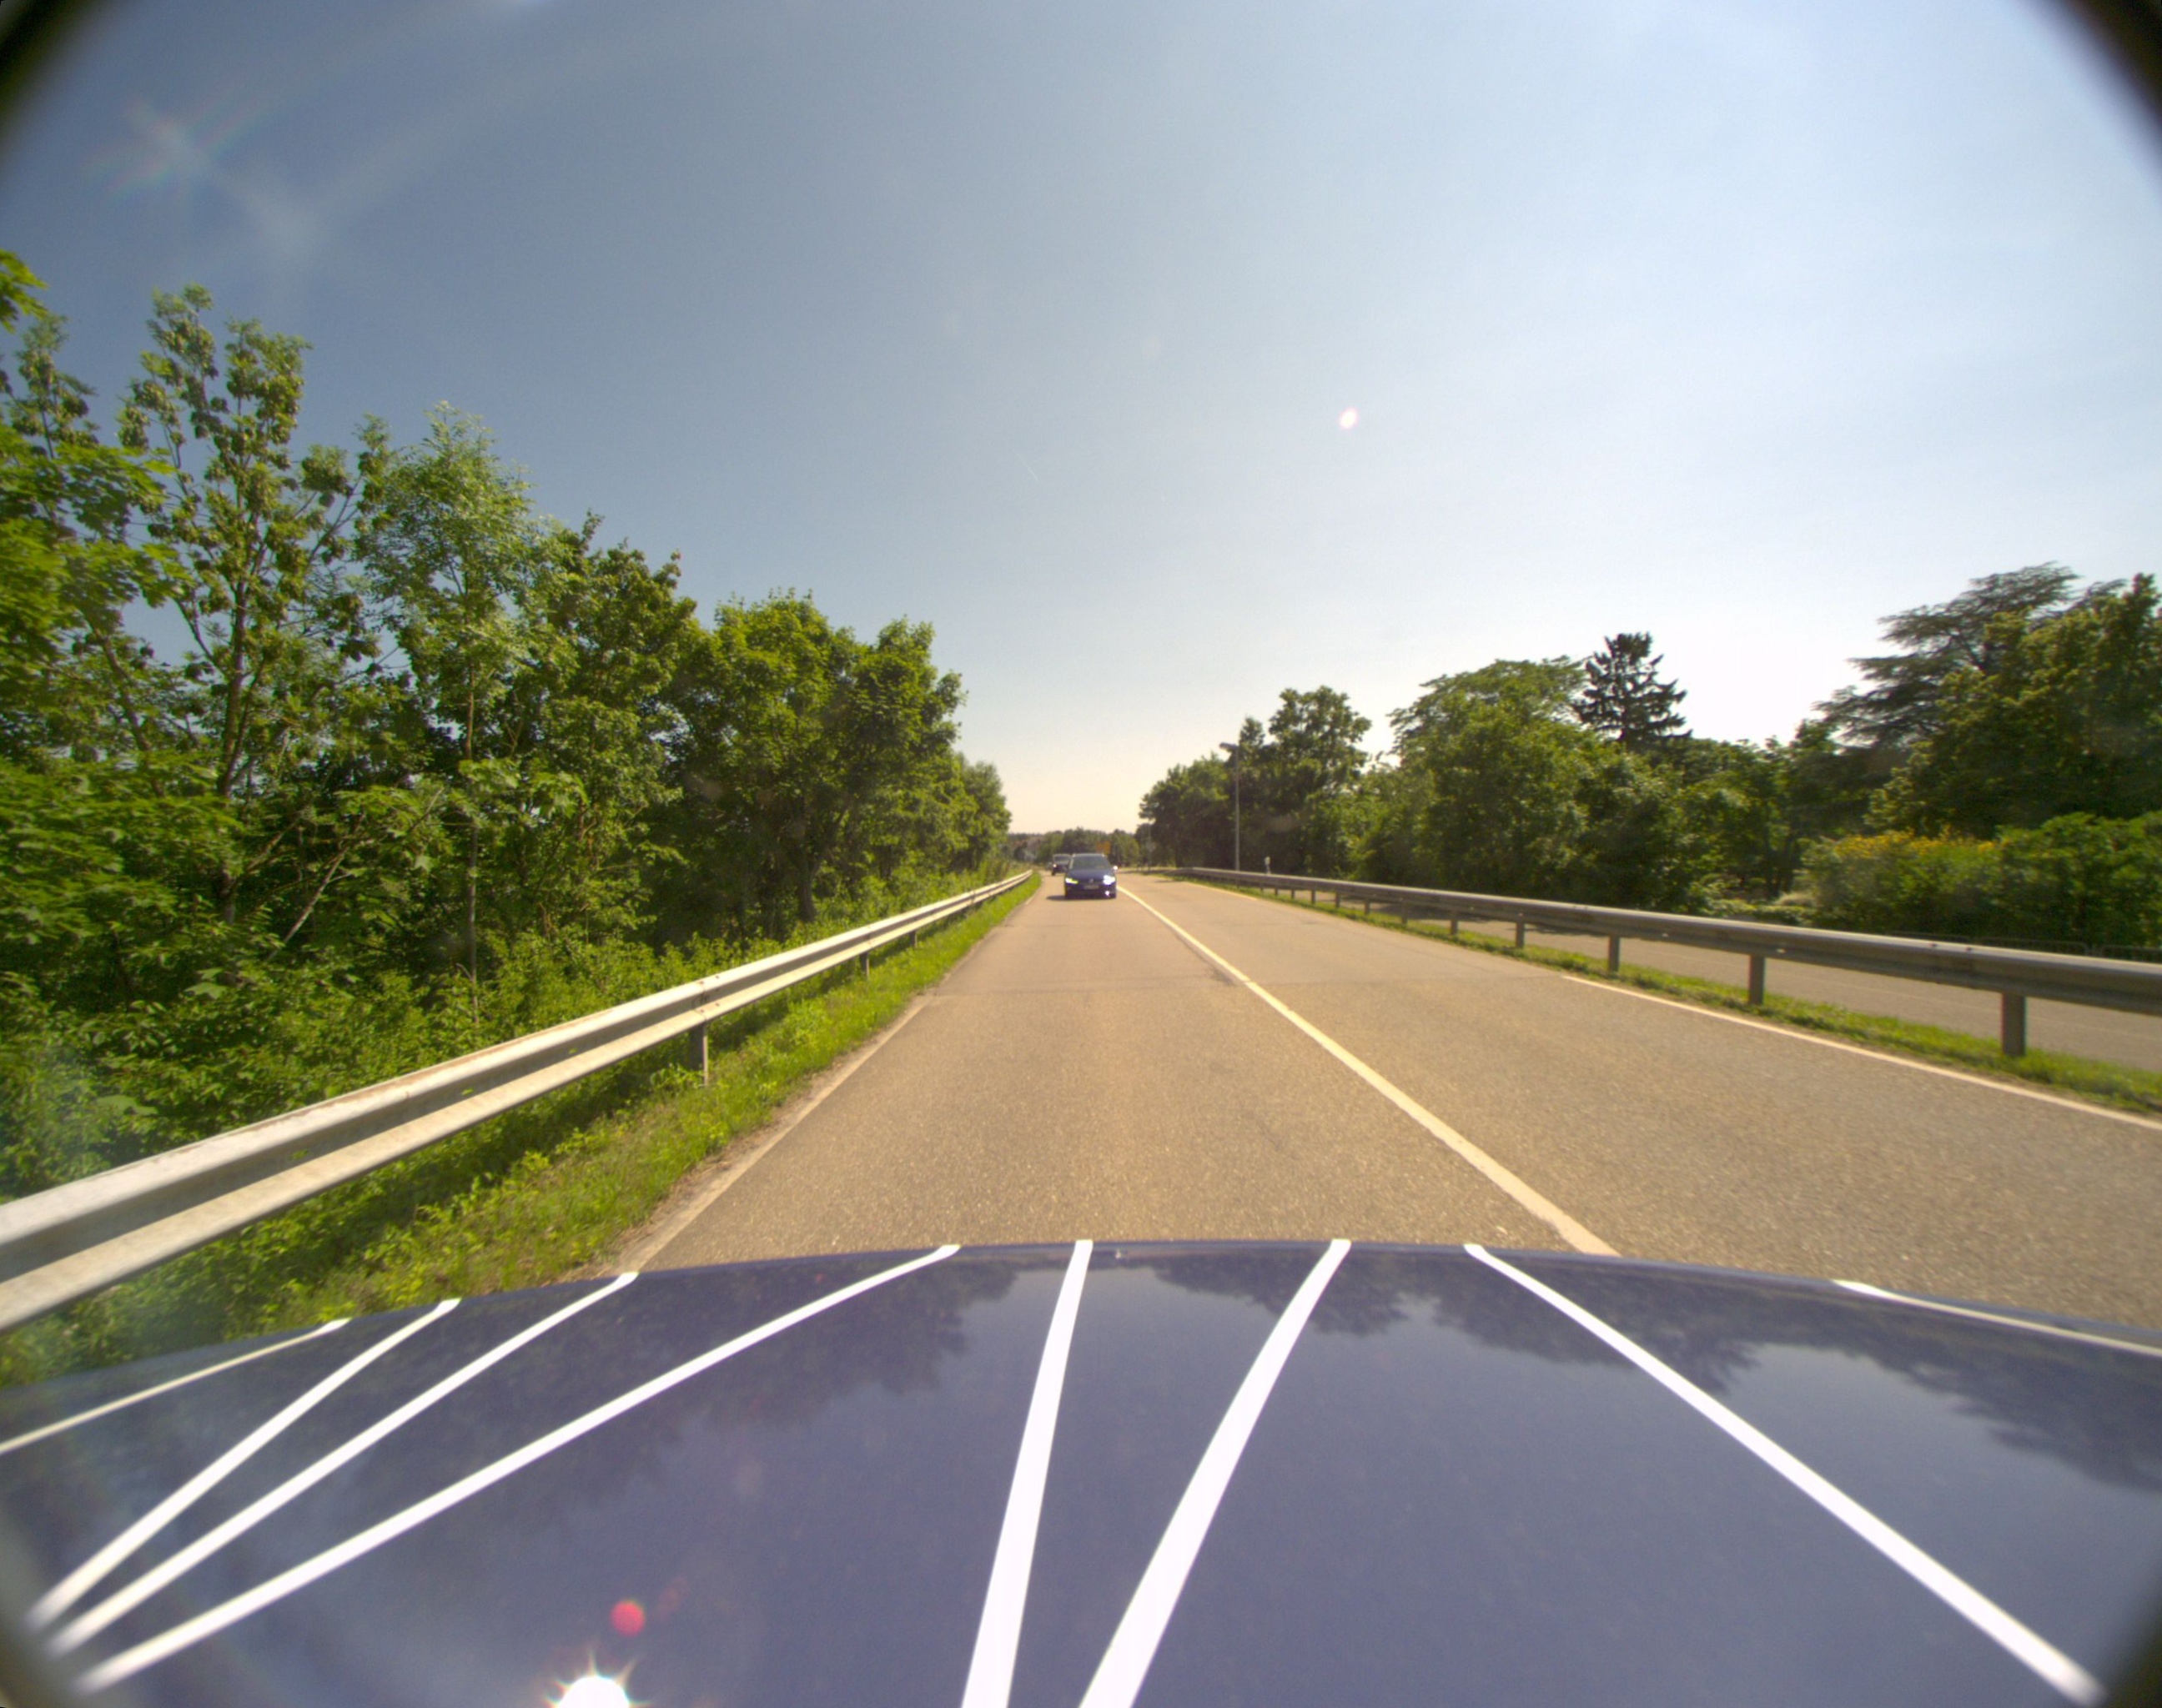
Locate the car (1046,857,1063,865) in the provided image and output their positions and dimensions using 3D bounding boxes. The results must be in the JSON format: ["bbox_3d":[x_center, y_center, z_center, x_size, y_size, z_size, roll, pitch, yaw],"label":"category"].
[{"bbox_3d":[-4.905,1.292,138.603,1.747,1.448,3.880,-1,1,-25],"label":"car"}]

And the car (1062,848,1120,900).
[{"bbox_3d":[0.341,0.657,27.328,1.828,1.592,4.195,-4,1,0],"label":"car"}]

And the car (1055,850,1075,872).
[{"bbox_3d":[-1.482,0.652,70.606,1.779,2.006,4.000,0,-1,-1],"label":"car"}]
